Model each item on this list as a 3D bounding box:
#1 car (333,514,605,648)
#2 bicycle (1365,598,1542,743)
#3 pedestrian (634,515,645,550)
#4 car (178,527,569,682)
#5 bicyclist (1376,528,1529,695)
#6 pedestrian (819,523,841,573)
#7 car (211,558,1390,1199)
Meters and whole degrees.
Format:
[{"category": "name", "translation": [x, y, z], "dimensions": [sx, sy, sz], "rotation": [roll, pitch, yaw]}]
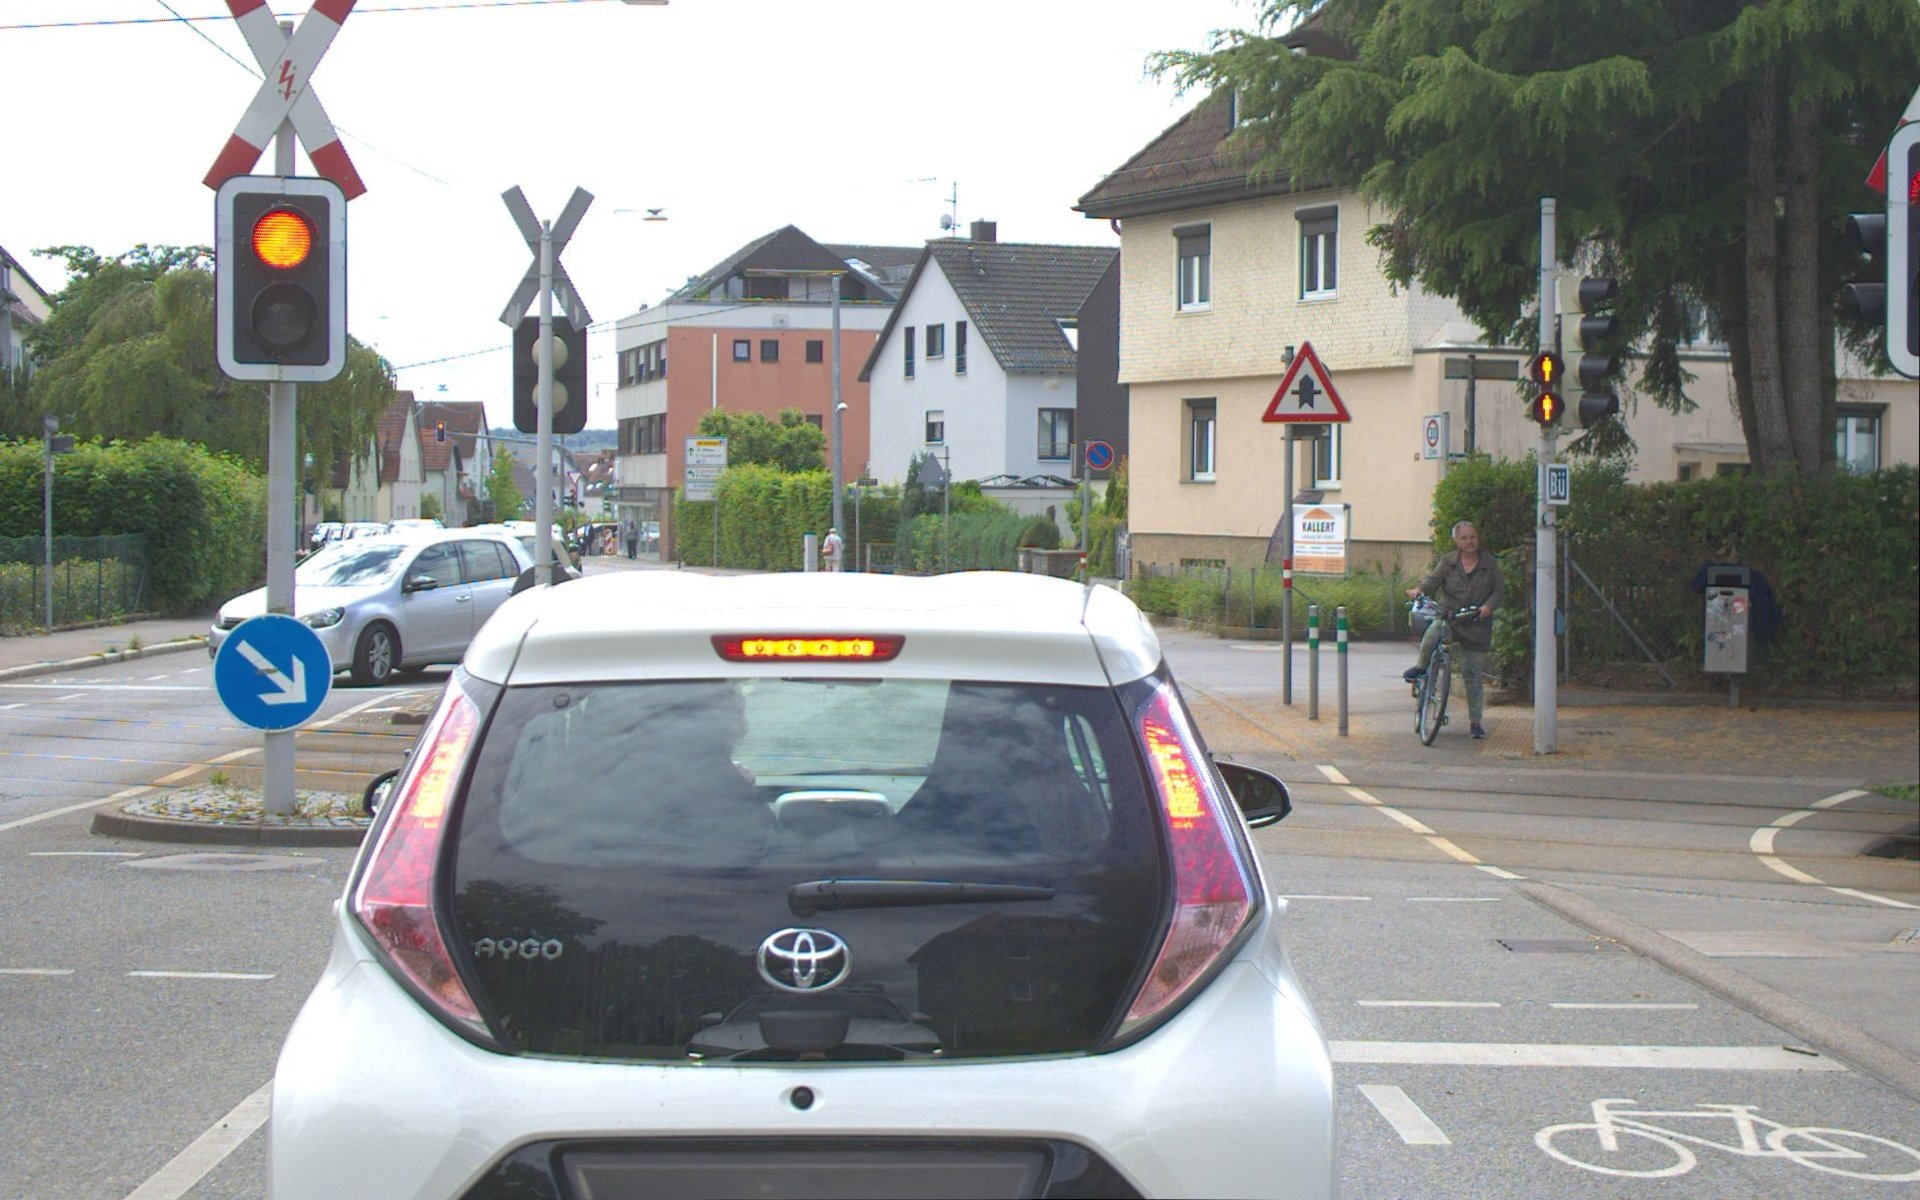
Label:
[{"category": "car", "translation": [-5.775, -0.216, 40.596], "dimensions": [1.579, 1.505, 2.781], "rotation": [2, 1, 42]}, {"category": "bicycle", "translation": [3.801, 0.518, 26.347], "dimensions": [0.933, 1.037, 1.913], "rotation": [0, 1, 21]}, {"category": "pedestrian", "translation": [-13.335, -2.806, 143.111], "dimensions": [0.413, 1.433, 0.438], "rotation": [1, 1, -11]}, {"category": "car", "translation": [-5.797, 0.034, 34.421], "dimensions": [1.691, 1.453, 4.063], "rotation": [0, 0, 29]}, {"category": "bicyclist", "translation": [3.766, 0.073, 26.249], "dimensions": [0.933, 1.243, 1.101], "rotation": [0, 1, 21]}, {"category": "pedestrian", "translation": [-3.796, -1.524, 100.263], "dimensions": [0.414, 1.433, 0.437], "rotation": [2, 2, 37]}, {"category": "car", "translation": [-0.244, 0.669, 6.746], "dimensions": [1.621, 1.481, 4.000], "rotation": [0, 1, -1]}]
